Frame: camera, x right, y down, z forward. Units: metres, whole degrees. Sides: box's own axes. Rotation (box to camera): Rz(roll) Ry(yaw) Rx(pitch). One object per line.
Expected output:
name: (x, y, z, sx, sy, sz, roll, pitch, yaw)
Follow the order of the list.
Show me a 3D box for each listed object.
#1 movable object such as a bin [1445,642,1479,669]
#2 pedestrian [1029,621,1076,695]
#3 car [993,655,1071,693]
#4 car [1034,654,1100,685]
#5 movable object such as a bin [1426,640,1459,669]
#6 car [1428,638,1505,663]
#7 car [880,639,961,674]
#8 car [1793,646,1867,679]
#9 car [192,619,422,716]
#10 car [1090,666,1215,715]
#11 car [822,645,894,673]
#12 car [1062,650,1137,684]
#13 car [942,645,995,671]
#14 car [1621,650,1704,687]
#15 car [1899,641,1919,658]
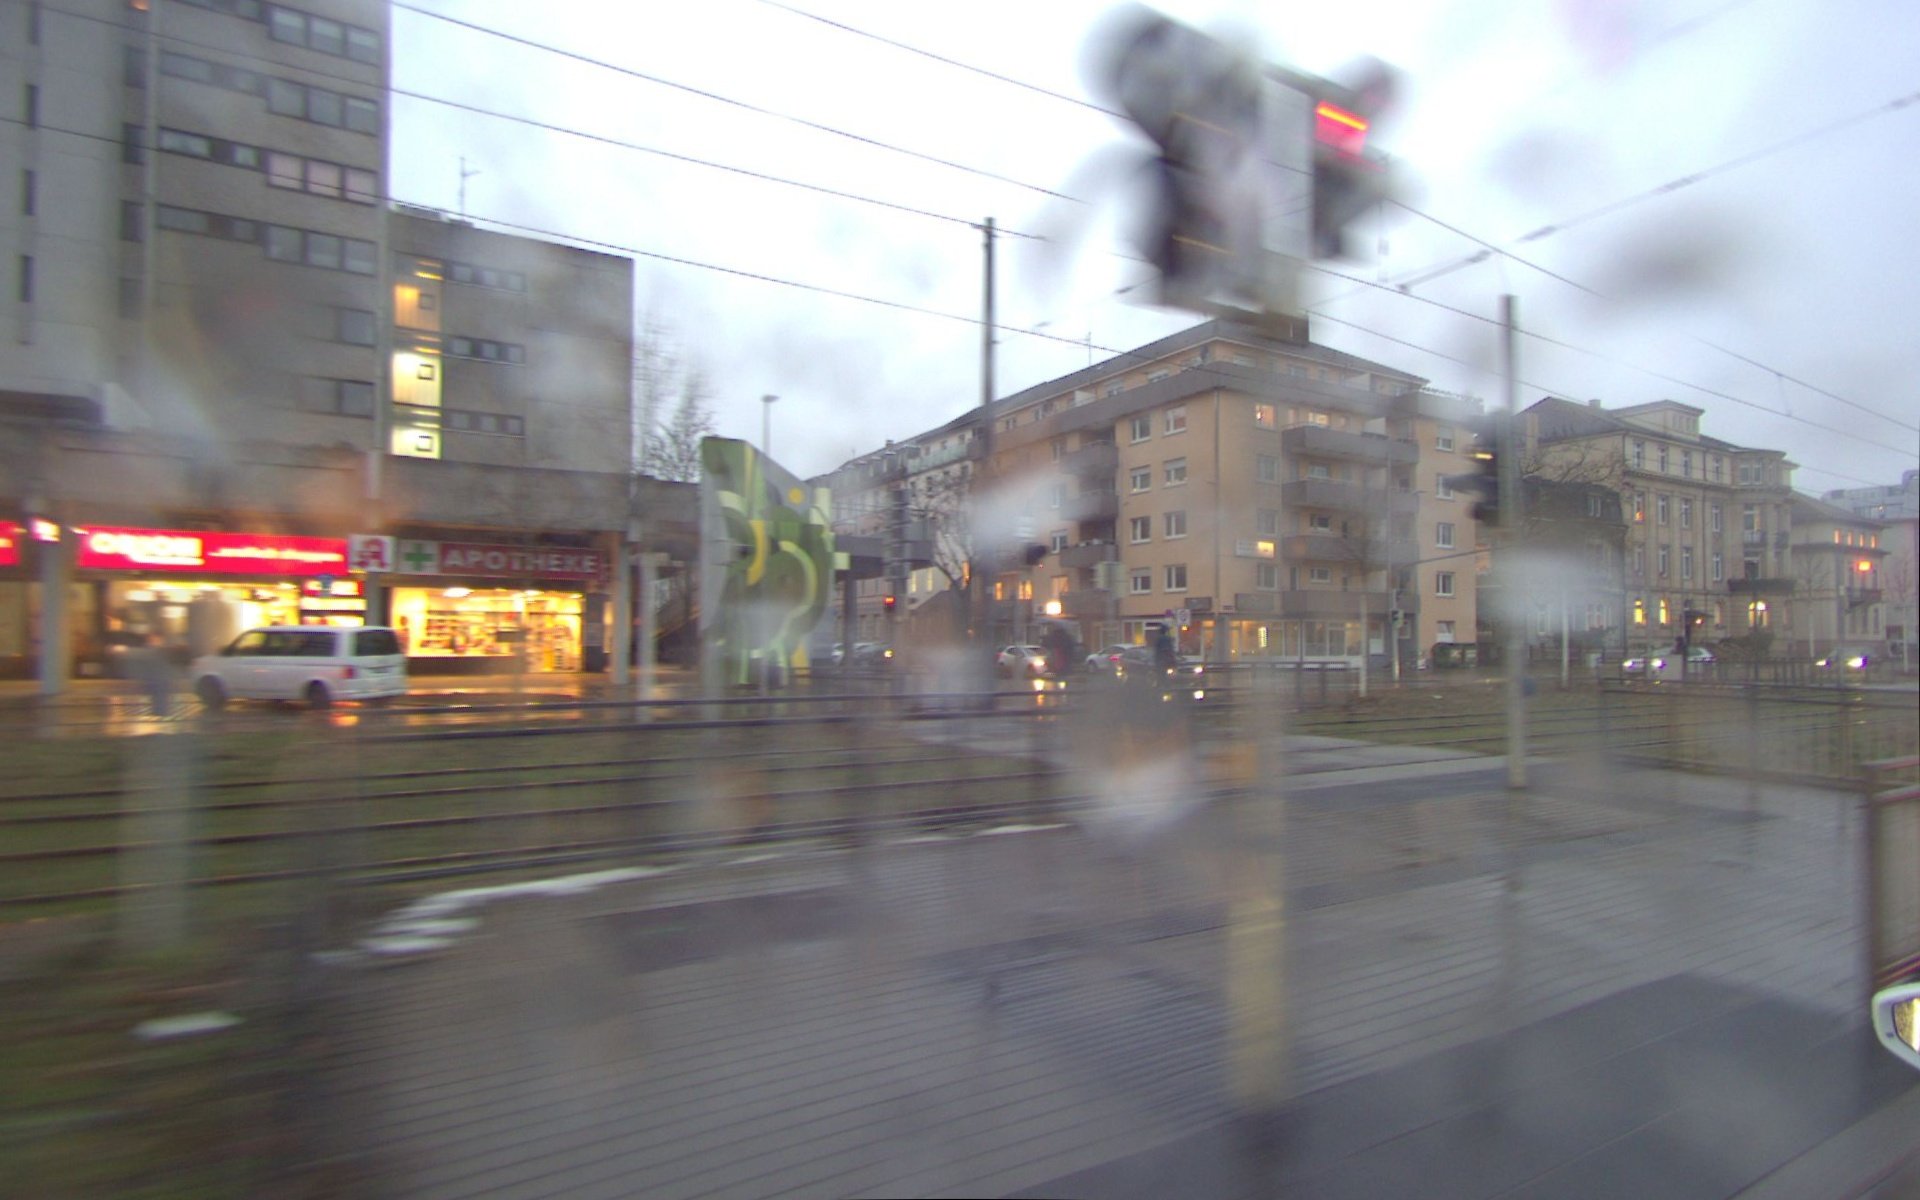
movable object such as a bin: (28.430, 3.109, 56.887, 1.410, 1.500, 1.101, 1, -3, -33)
pedestrian: (1.955, 1.213, 21.184, 0.625, 1.509, 0.784, 1, -2, -38)
car: (3.394, 3.500, 48.170, 1.667, 1.531, 3.964, 2, -1, -33)
car: (5.892, 3.802, 55.670, 1.738, 1.572, 3.807, 1, -2, -31)
movable object such as a bin: (26.902, 3.044, 56.028, 1.410, 1.581, 1.101, 1, -3, -33)
car: (31.902, 3.175, 63.327, 1.813, 1.425, 3.966, 3, -2, -31)
car: (-1.886, 2.702, 48.454, 3.596, 1.622, 1.610, 2, -2, -30)
car: (45.381, 3.238, 52.389, 3.955, 1.606, 1.792, 2, -1, -32)
car: (-15.574, 1.544, 24.036, 4.480, 2.040, 2.001, 2, -1, 13)
car: (7.309, 3.410, 38.583, 1.981, 1.565, 4.656, 2, -2, -36)
car: (-5.517, 3.179, 54.424, 3.542, 1.439, 1.712, 2, -2, -34)
car: (7.013, 3.336, 50.777, 1.758, 1.572, 3.807, 1, -2, -31)
car: (0.512, 3.685, 64.747, 1.738, 1.572, 3.807, 1, -2, -31)
car: (33.103, 3.210, 47.326, 3.955, 1.606, 1.792, 2, -1, -32)
car: (83.928, 4.360, 87.859, 3.885, 1.455, 1.796, 1, -3, -33)
